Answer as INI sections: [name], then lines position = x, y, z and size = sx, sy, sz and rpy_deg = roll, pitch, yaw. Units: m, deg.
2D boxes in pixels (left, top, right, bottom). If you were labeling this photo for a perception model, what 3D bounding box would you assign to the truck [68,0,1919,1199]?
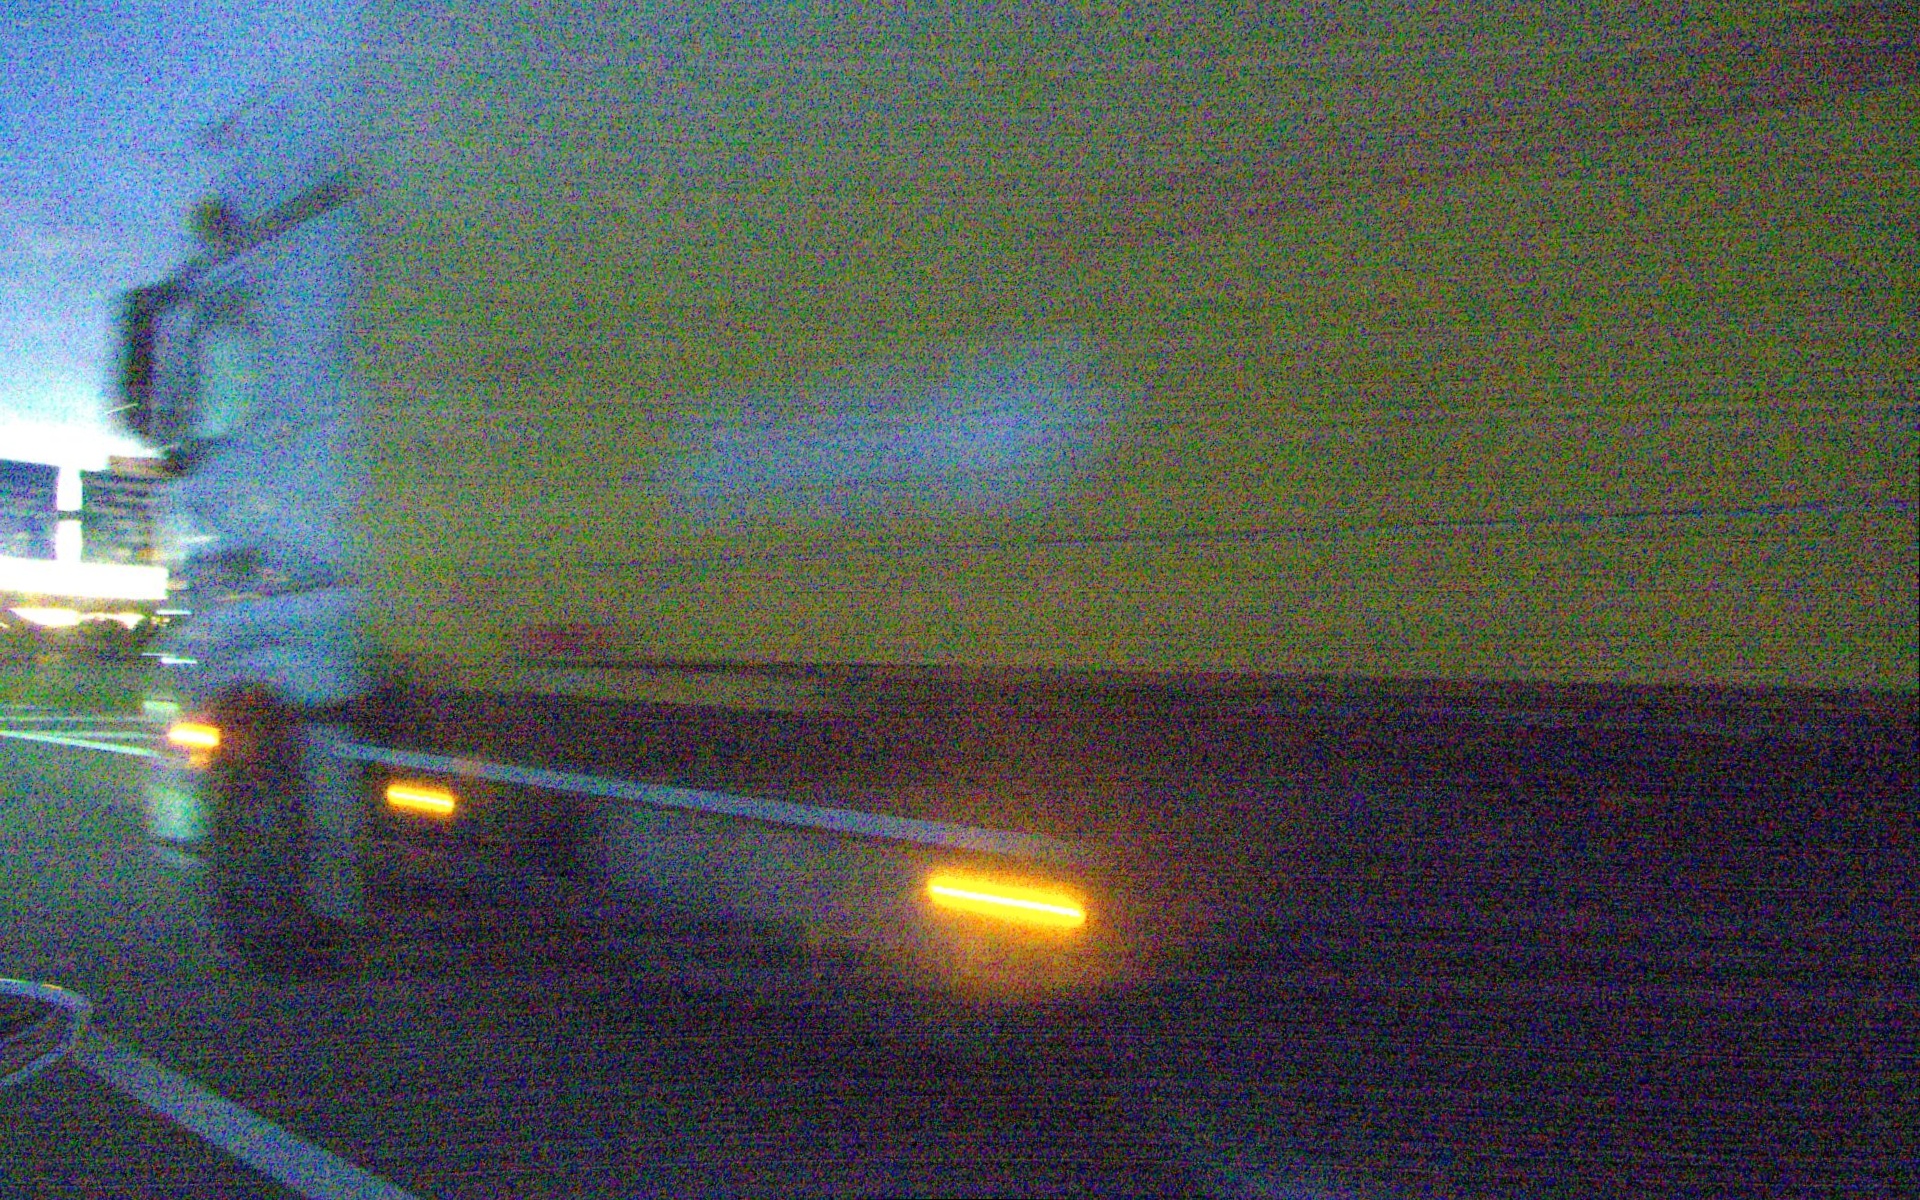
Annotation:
[truck]
position = 0.377, -0.498, 3.668
size = 10.369, 4.123, 2.686
rpy_deg = -1, -1, 32
